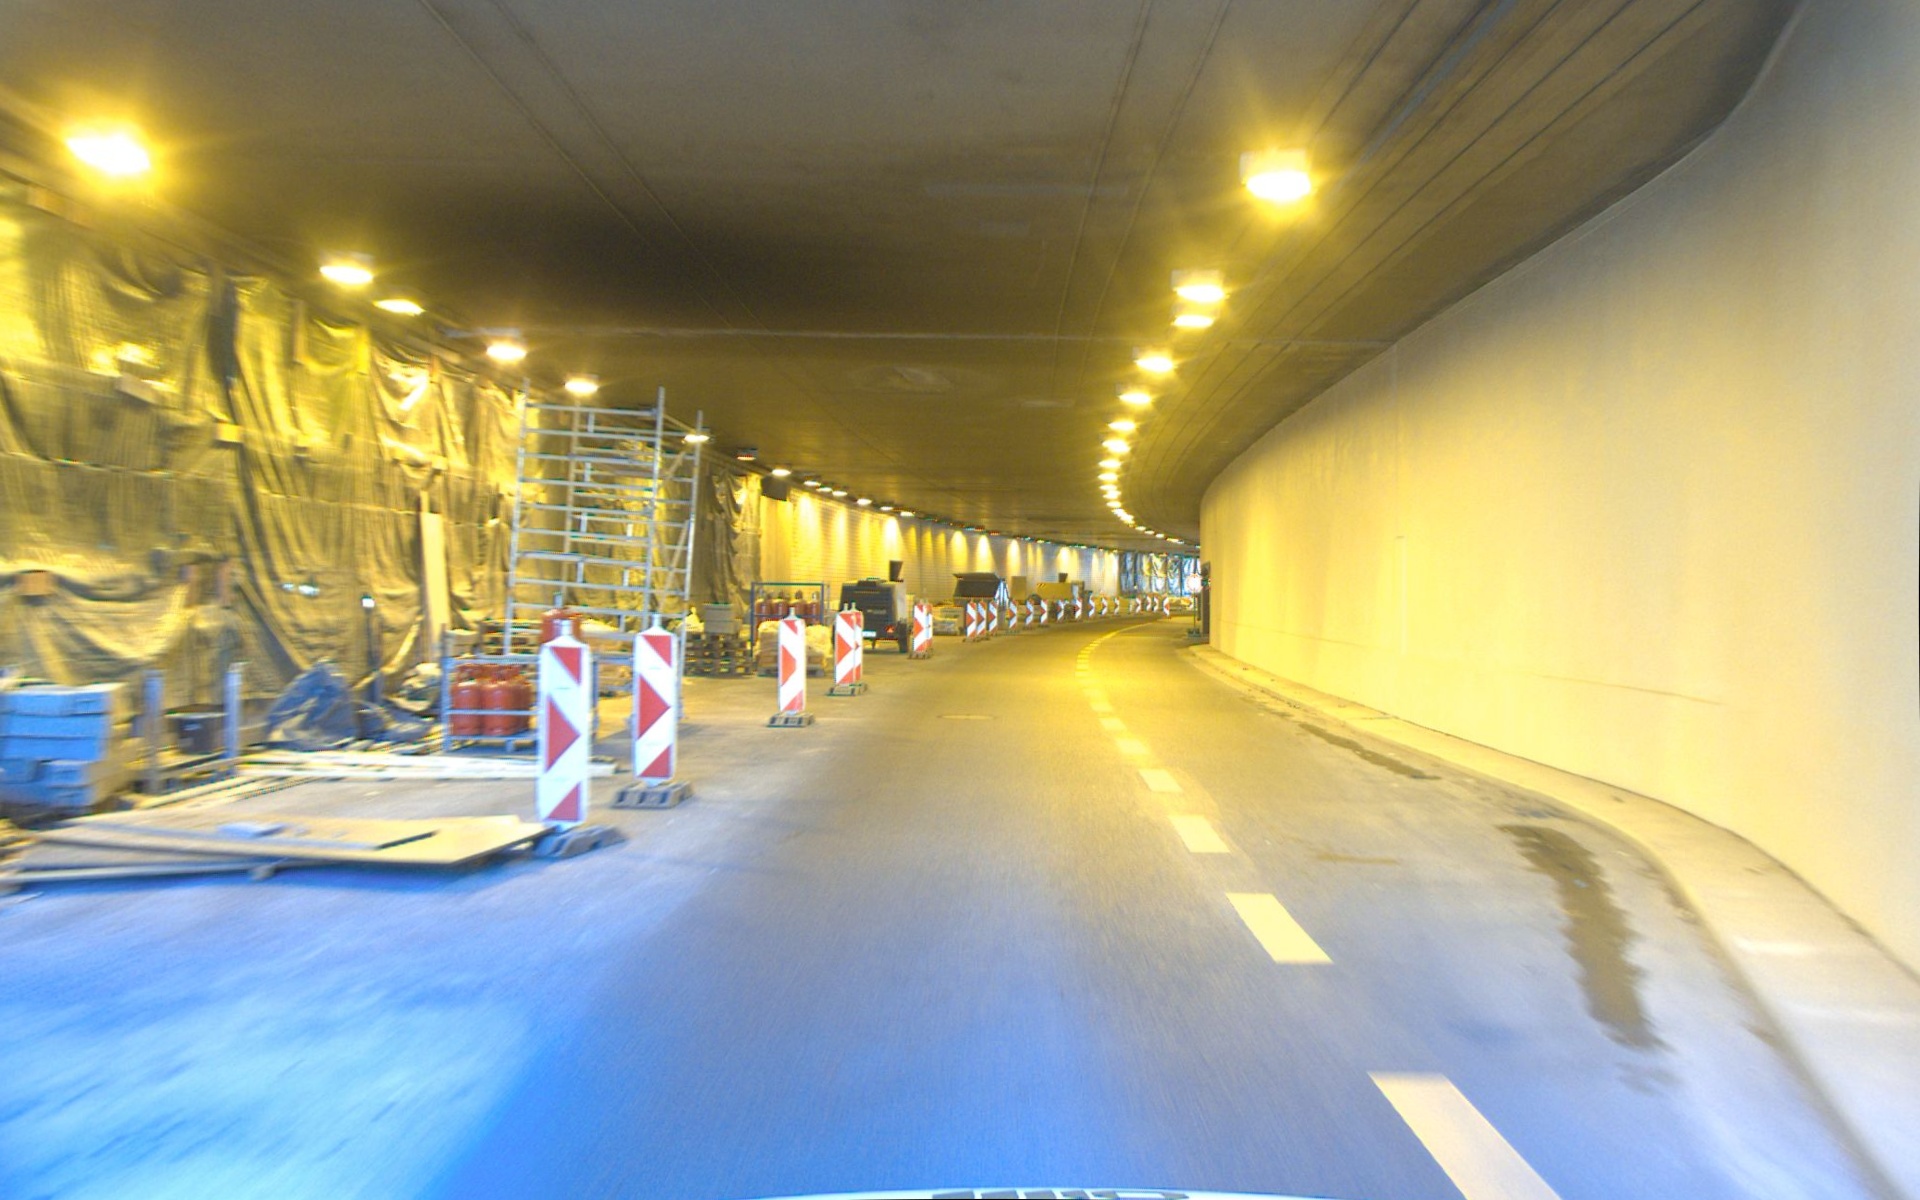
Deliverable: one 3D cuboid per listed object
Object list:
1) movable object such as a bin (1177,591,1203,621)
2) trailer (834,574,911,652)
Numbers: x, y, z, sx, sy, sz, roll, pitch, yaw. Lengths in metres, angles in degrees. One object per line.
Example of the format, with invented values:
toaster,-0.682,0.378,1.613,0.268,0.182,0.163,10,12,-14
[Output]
movable object such as a bin,11.815,0.297,84.853,1.169,1.486,1.606,-2,0,12
trailer,-2.133,0.318,41.008,1.547,1.829,2.941,1,0,4
